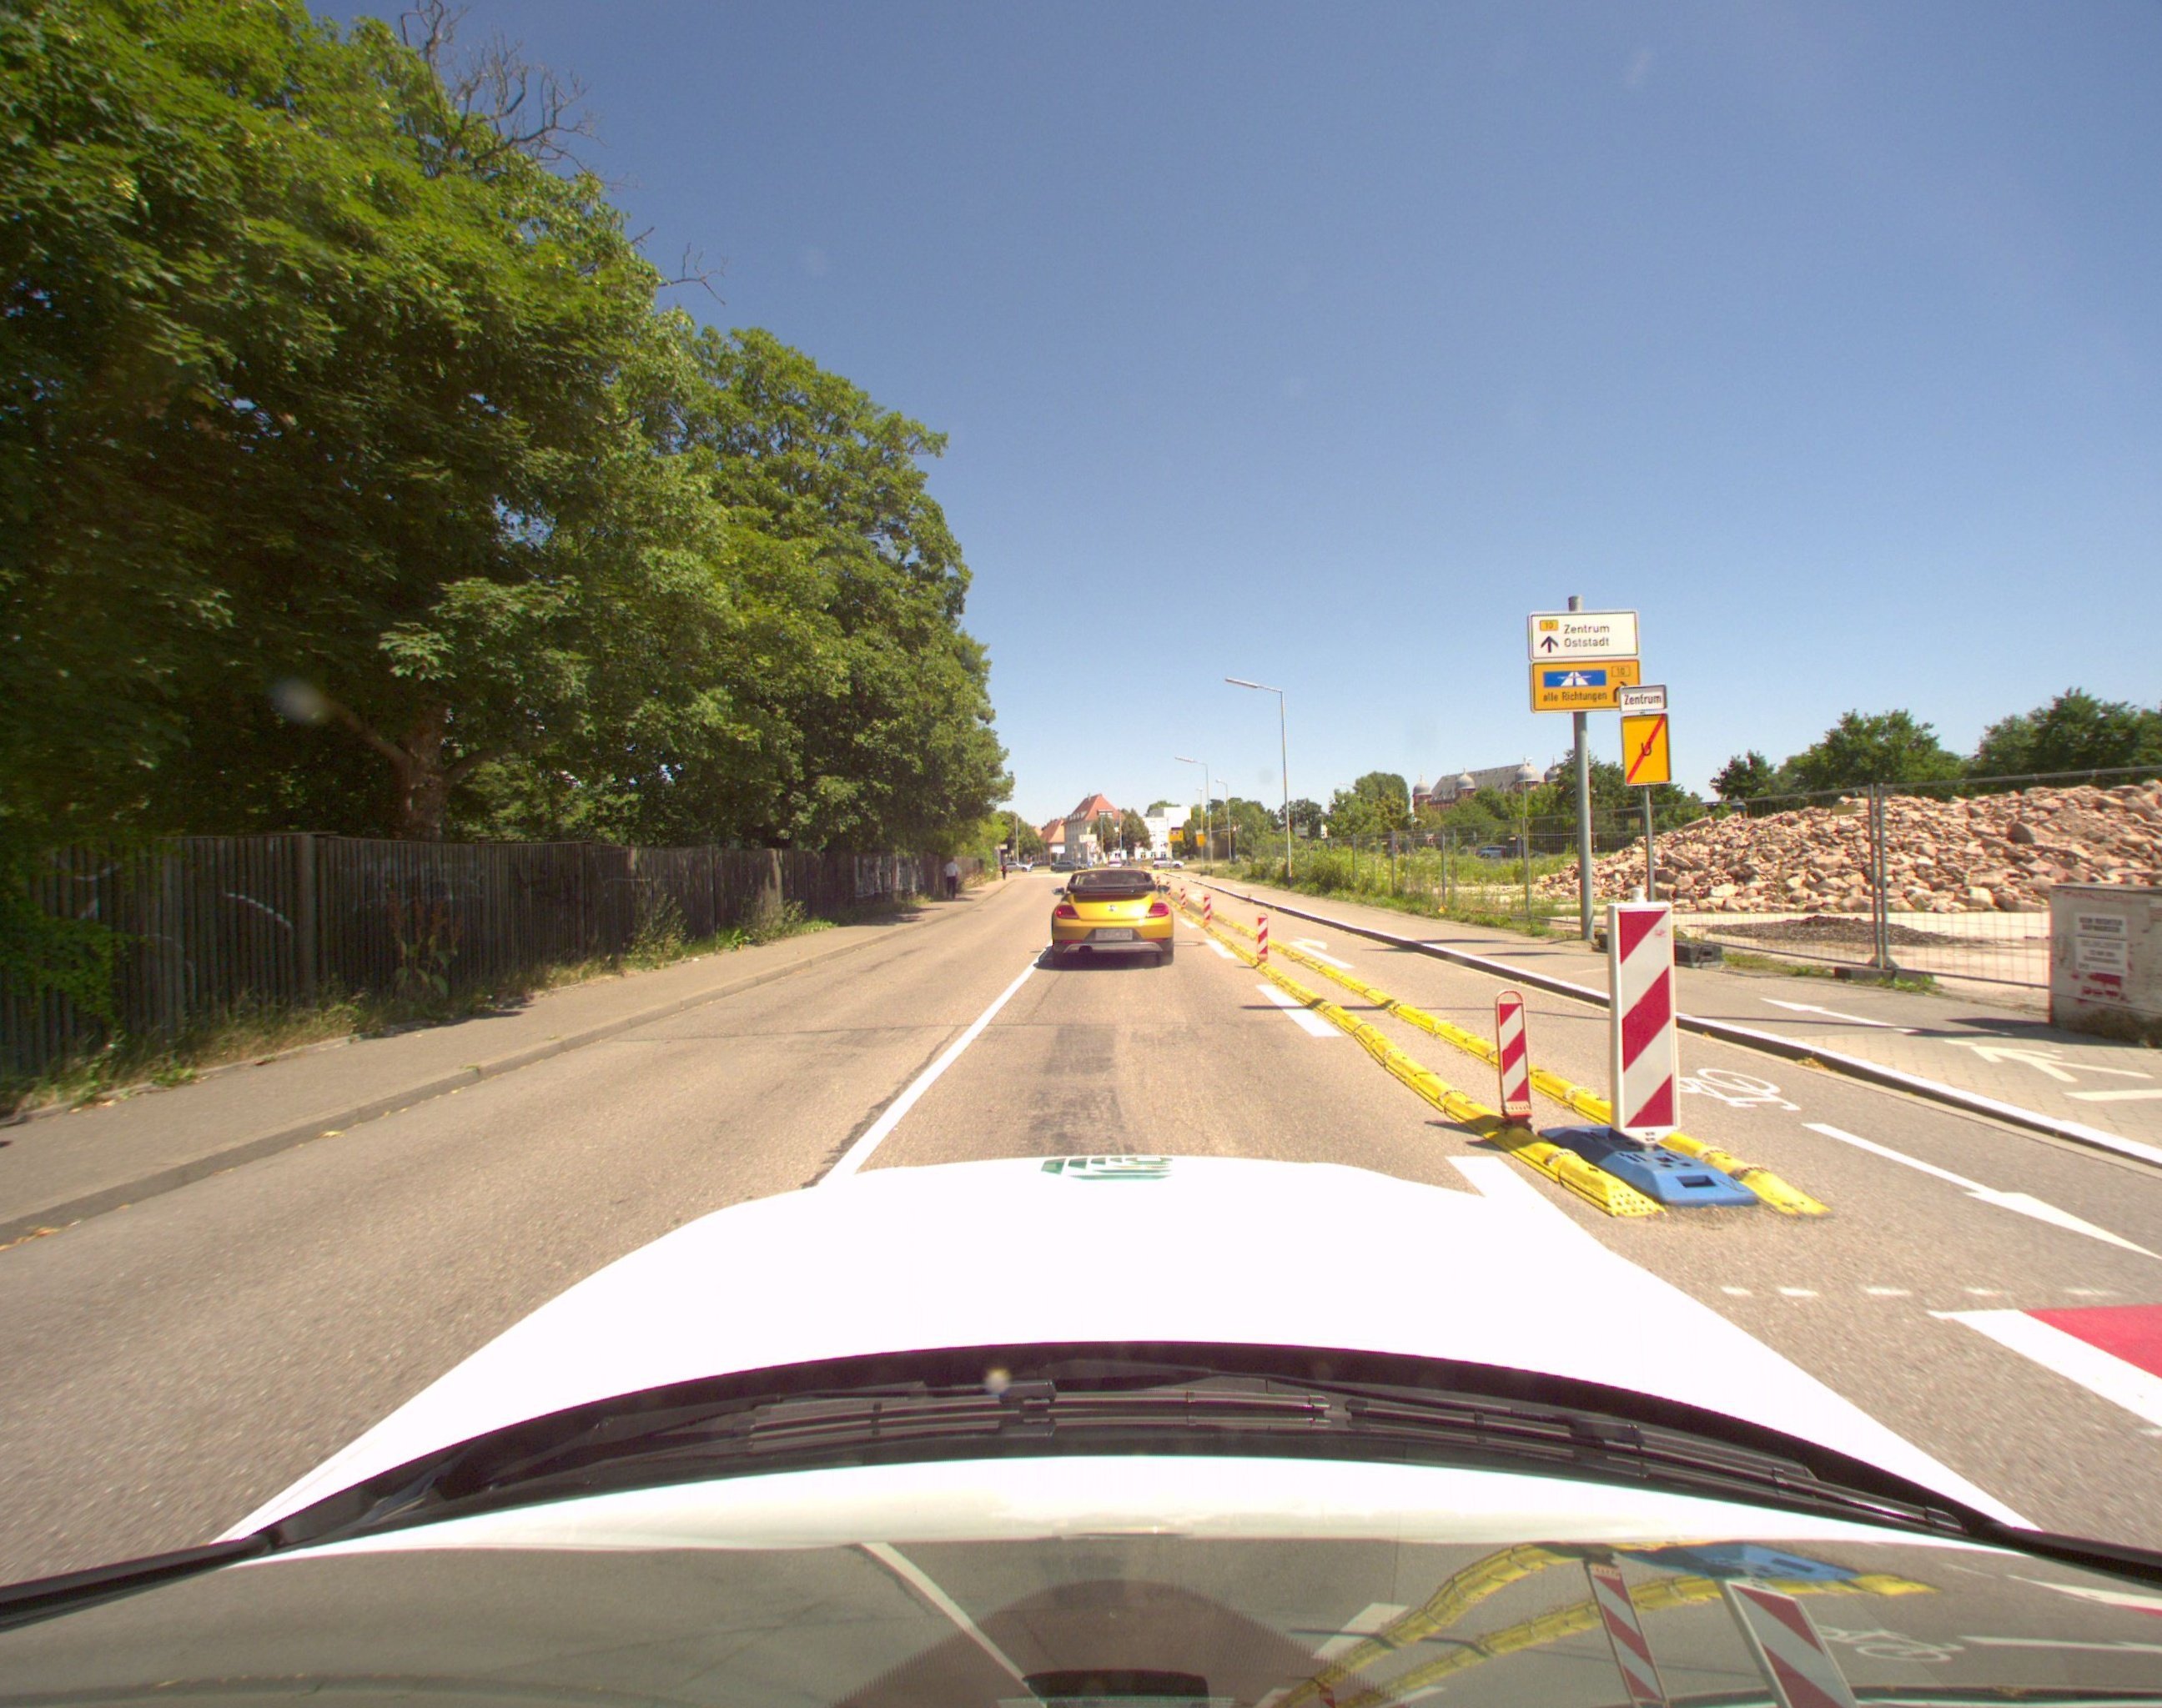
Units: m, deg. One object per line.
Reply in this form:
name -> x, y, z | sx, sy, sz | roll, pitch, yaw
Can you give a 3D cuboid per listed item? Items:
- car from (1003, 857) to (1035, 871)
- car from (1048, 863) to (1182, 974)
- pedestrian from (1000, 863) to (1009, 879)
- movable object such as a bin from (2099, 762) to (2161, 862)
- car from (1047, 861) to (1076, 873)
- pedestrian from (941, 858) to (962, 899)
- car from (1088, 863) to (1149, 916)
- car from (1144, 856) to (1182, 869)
car -> -8.503, 1.345, 111.530 | 4.047, 1.744, 1.571 | -3, 0, 10
car -> 0.497, 0.911, 13.178 | 1.784, 1.436, 3.814 | -3, 0, 1
pedestrian -> -6.910, 1.545, 73.857 | 0.720, 1.454, 0.817 | -3, -1, -2
movable object such as a bin -> 37.520, -1.485, 22.808 | 4.922, 3.260, 10.469 | -2, 0, 1
car -> -2.429, 1.616, 101.408 | 3.416, 1.275, 1.410 | -3, -1, 10
pedestrian -> -5.724, 1.071, 36.032 | 0.720, 1.725, 0.817 | -3, -1, -2
car -> 1.195, 1.061, 25.902 | 1.720, 1.443, 4.002 | -3, 0, 2
car -> 10.072, 1.008, 99.799 | 4.413, 1.358, 1.541 | -3, 0, 9
